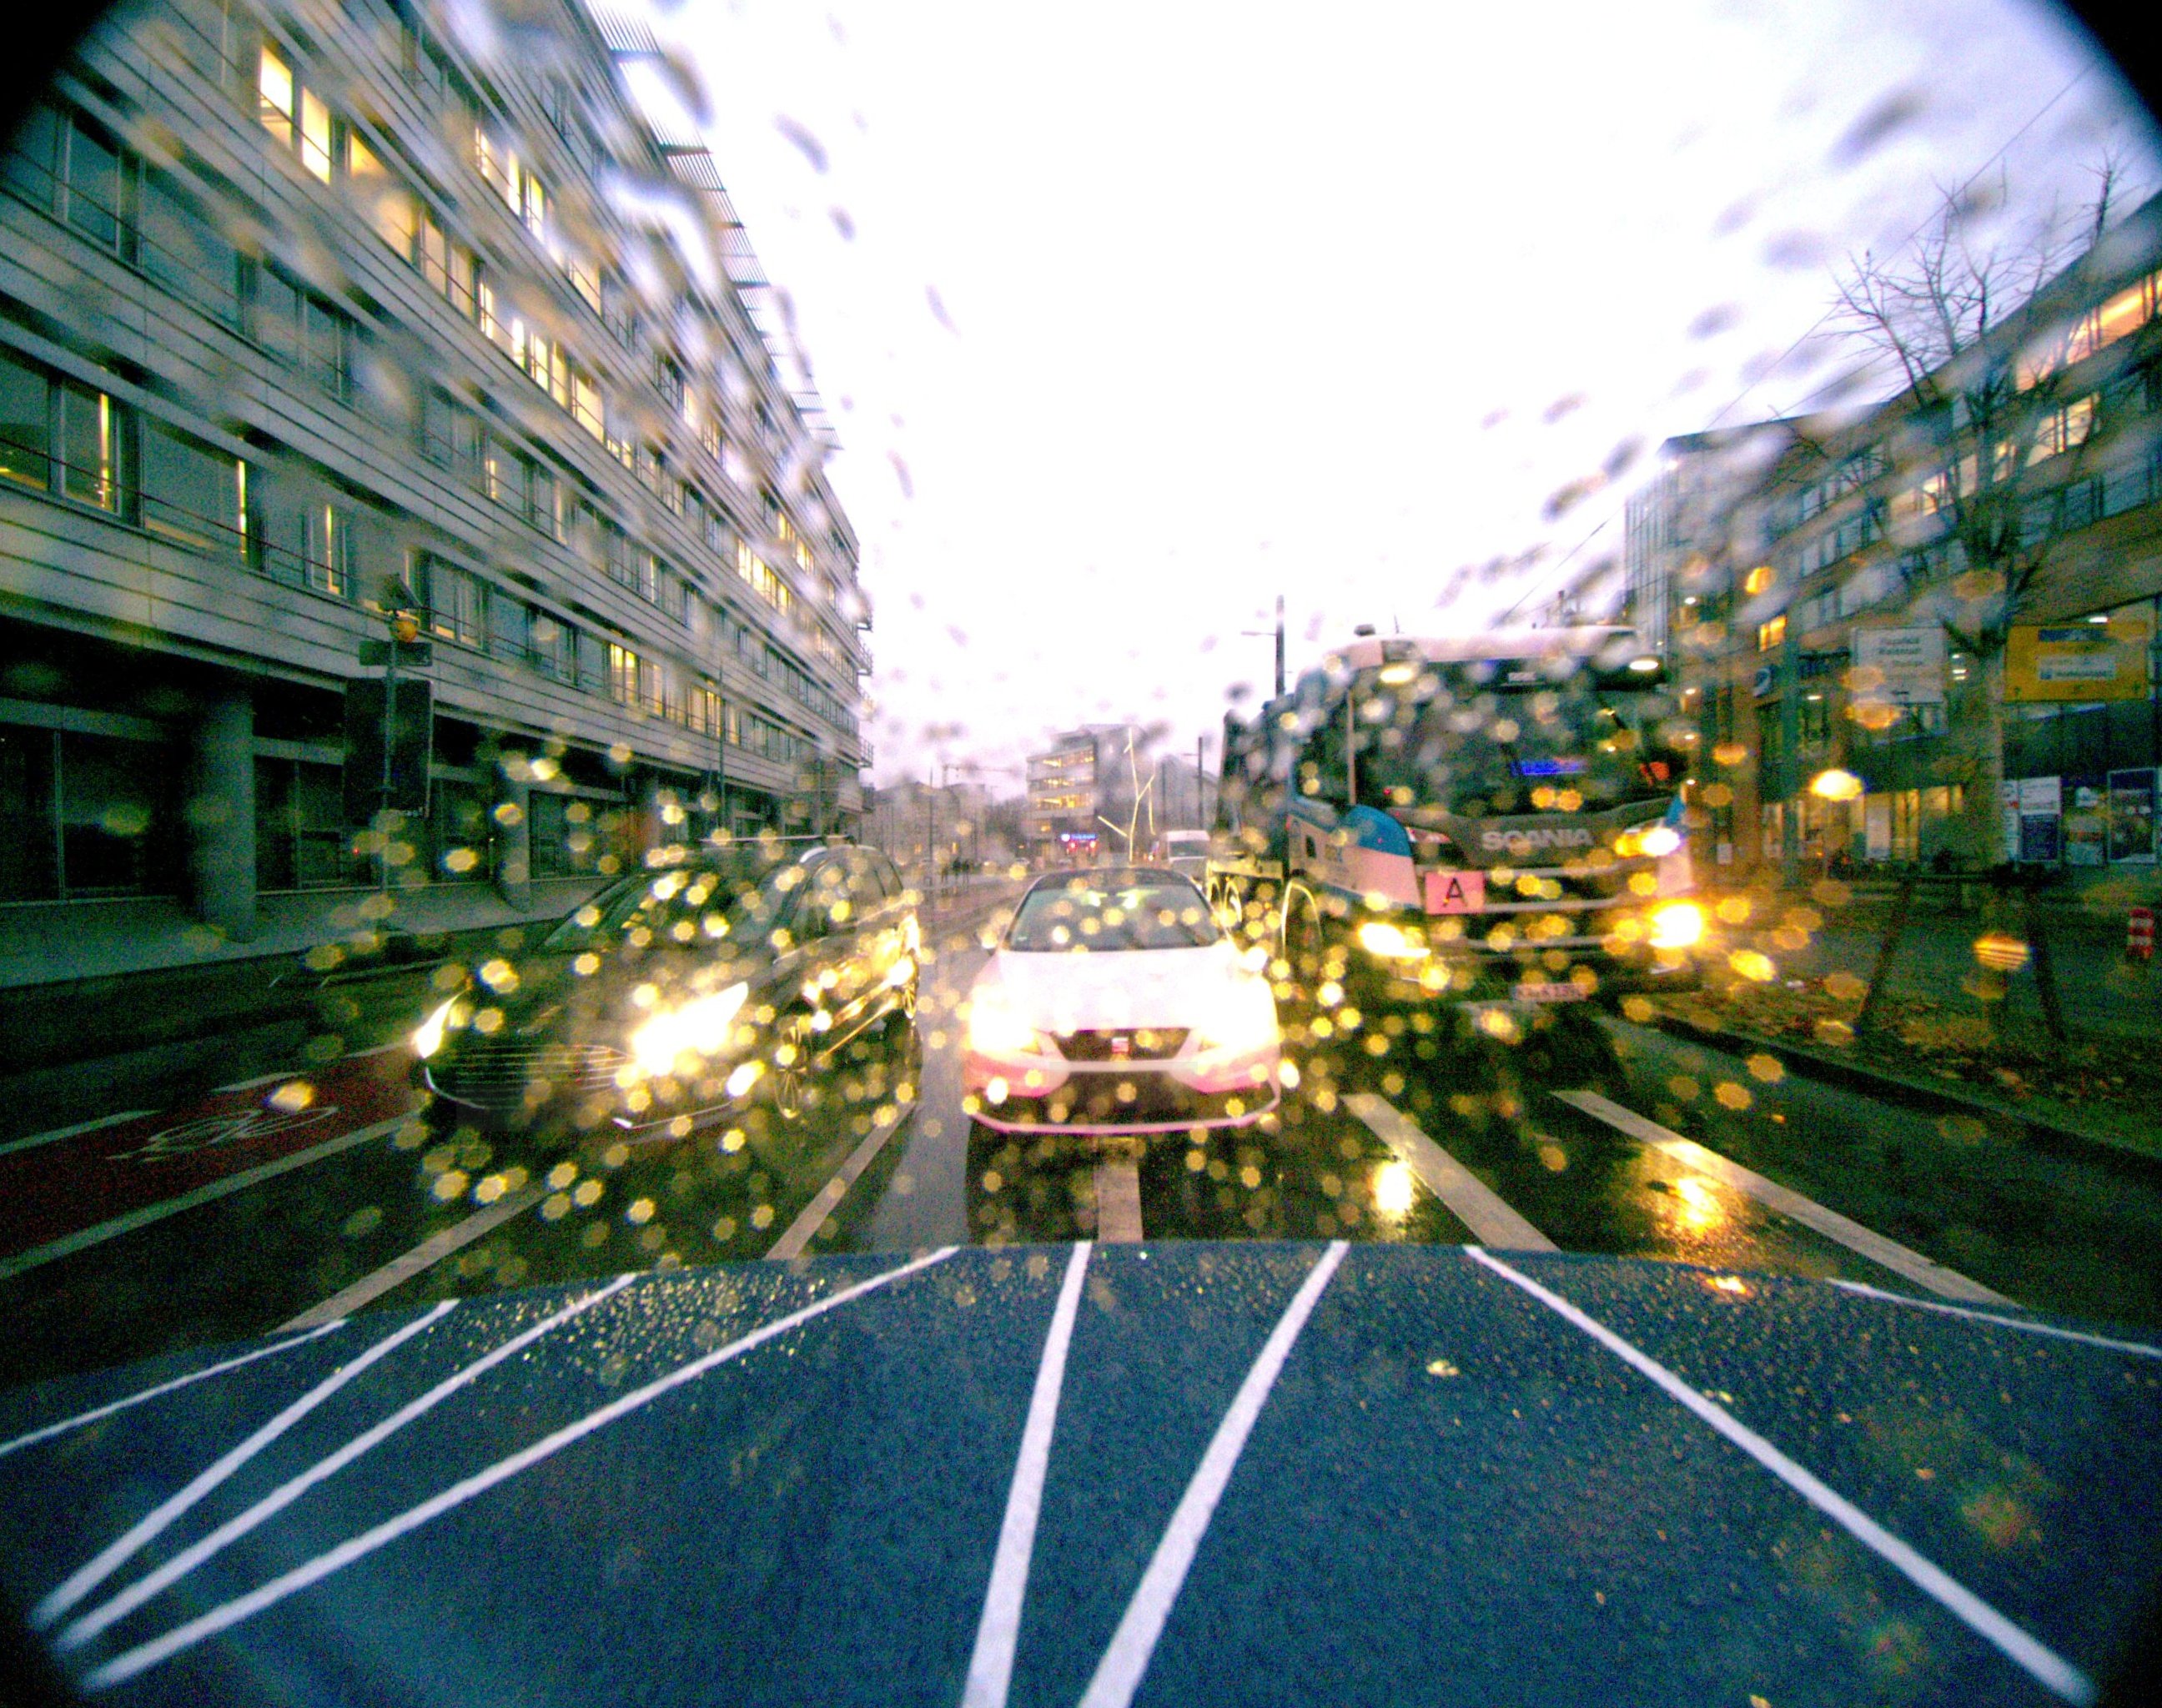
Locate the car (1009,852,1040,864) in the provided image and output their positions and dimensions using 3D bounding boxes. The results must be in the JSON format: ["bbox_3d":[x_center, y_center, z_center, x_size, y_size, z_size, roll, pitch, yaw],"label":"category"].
[{"bbox_3d":[-8.137,0.538,109.505,3.918,1.699,1.782,-1,1,15],"label":"car"}]

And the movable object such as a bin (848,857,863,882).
[{"bbox_3d":[-13.417,0.928,45.225,0.666,1.468,0.840,-1,1,-2],"label":"movable object such as a bin"}]

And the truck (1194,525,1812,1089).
[{"bbox_3d":[3.293,-0.315,8.672,2.846,3.612,7.526,-1,0,0],"label":"truck"}]

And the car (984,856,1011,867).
[{"bbox_3d":[-13.938,1.280,126.567,3.991,1.759,1.815,-1,0,20],"label":"car"}]

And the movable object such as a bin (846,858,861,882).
[{"bbox_3d":[-13.253,0.924,44.296,0.666,1.420,0.840,-1,1,-2],"label":"movable object such as a bin"}]

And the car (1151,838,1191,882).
[{"bbox_3d":[6.153,0.377,52.663,2.129,2.847,5.813,-1,0,1],"label":"car"}]

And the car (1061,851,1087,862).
[{"bbox_3d":[-1.098,0.430,122.383,3.724,1.796,1.797,-1,0,21],"label":"car"}]

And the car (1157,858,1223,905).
[{"bbox_3d":[3.440,0.847,24.667,1.759,1.337,4.057,-1,0,3],"label":"car"}]

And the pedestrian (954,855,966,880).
[{"bbox_3d":[-8.154,0.899,51.229,0.651,1.692,0.884,1,1,-3],"label":"pedestrian"}]

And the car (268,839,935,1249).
[{"bbox_3d":[-2.612,0.858,5.750,1.887,1.800,4.671,-2,0,2],"label":"car"}]

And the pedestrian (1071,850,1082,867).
[{"bbox_3d":[-0.526,0.553,90.028,1.118,2.002,1.034,0,1,15],"label":"pedestrian"}]

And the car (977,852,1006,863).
[{"bbox_3d":[-13.022,0.562,110.698,3.759,1.528,1.782,0,0,17],"label":"car"}]

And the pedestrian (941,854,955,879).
[{"bbox_3d":[-9.099,0.848,51.961,0.747,1.692,0.969,2,1,-3],"label":"pedestrian"}]

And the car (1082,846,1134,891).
[{"bbox_3d":[1.127,0.593,33.865,2.169,1.744,4.540,0,2,0],"label":"car"}]

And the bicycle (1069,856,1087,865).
[{"bbox_3d":[-0.391,0.819,94.646,2.204,1.182,0.668,0,1,2],"label":"bicycle"}]

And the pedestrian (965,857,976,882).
[{"bbox_3d":[-7.435,1.021,51.305,0.616,1.659,0.884,1,1,-3],"label":"pedestrian"}]

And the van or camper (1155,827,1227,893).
[{"bbox_3d":[4.519,0.229,32.268,2.153,2.517,5.898,-1,0,0],"label":"van or camper"}]

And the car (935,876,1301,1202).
[{"bbox_3d":[0.209,0.973,5.710,1.782,1.464,3.943,-1,0,1],"label":"car"}]

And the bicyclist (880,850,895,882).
[{"bbox_3d":[-10.988,0.660,43.196,0.671,1.788,0.806,0,1,-3],"label":"bicyclist"}]

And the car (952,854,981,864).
[{"bbox_3d":[-16.926,0.713,112.239,3.759,1.528,1.782,0,0,17],"label":"car"}]

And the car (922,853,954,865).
[{"bbox_3d":[-21.402,0.797,113.728,4.368,1.750,2.002,-1,1,17],"label":"car"}]

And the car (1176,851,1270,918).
[{"bbox_3d":[3.469,0.753,19.207,1.634,1.514,3.943,0,-2,0],"label":"car"}]

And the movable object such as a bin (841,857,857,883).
[{"bbox_3d":[-13.258,0.910,43.399,0.666,1.420,0.840,-1,1,-2],"label":"movable object such as a bin"}]

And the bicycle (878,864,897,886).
[{"bbox_3d":[-10.987,1.188,43.225,0.681,1.191,1.760,-4,1,-3],"label":"bicycle"}]

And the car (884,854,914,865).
[{"bbox_3d":[-27.842,0.824,116.087,3.996,1.663,2.002,-1,1,17],"label":"car"}]
